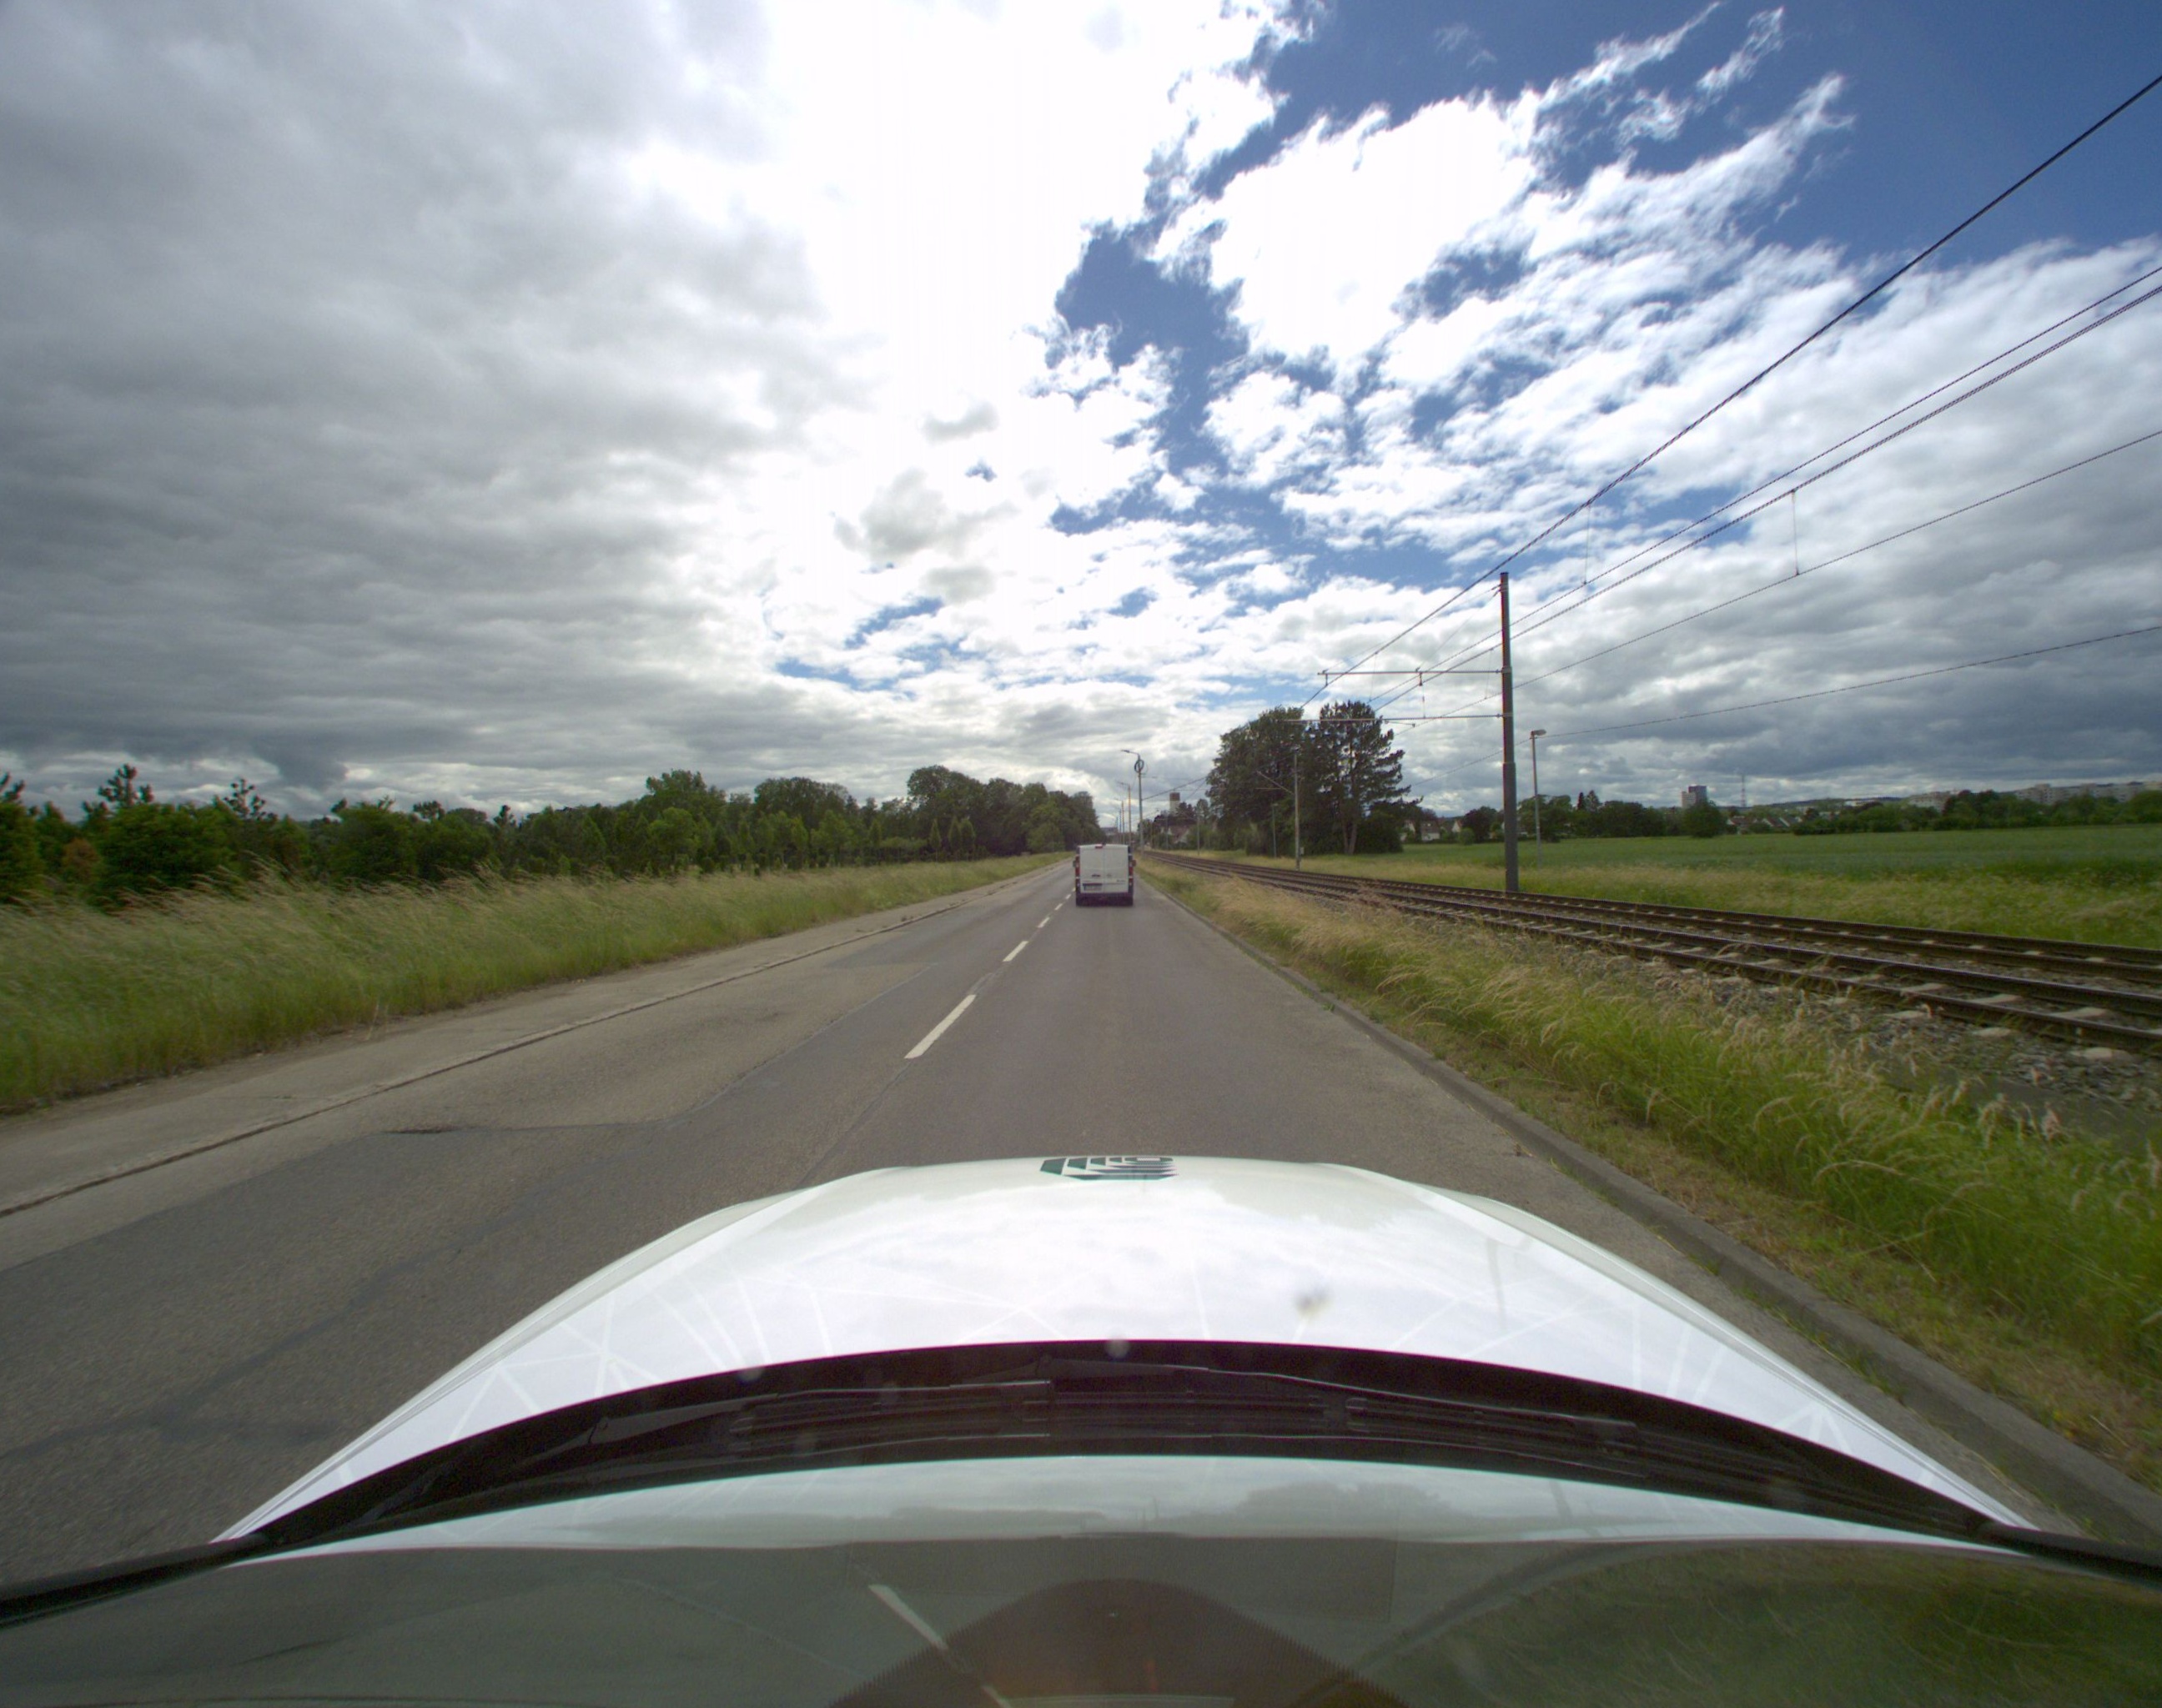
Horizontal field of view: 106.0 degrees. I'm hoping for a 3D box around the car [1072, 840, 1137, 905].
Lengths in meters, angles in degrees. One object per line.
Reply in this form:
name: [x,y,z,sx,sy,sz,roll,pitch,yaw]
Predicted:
car: [0.744,0.581,27.142,1.987,1.957,4.000,-1,0,1]
